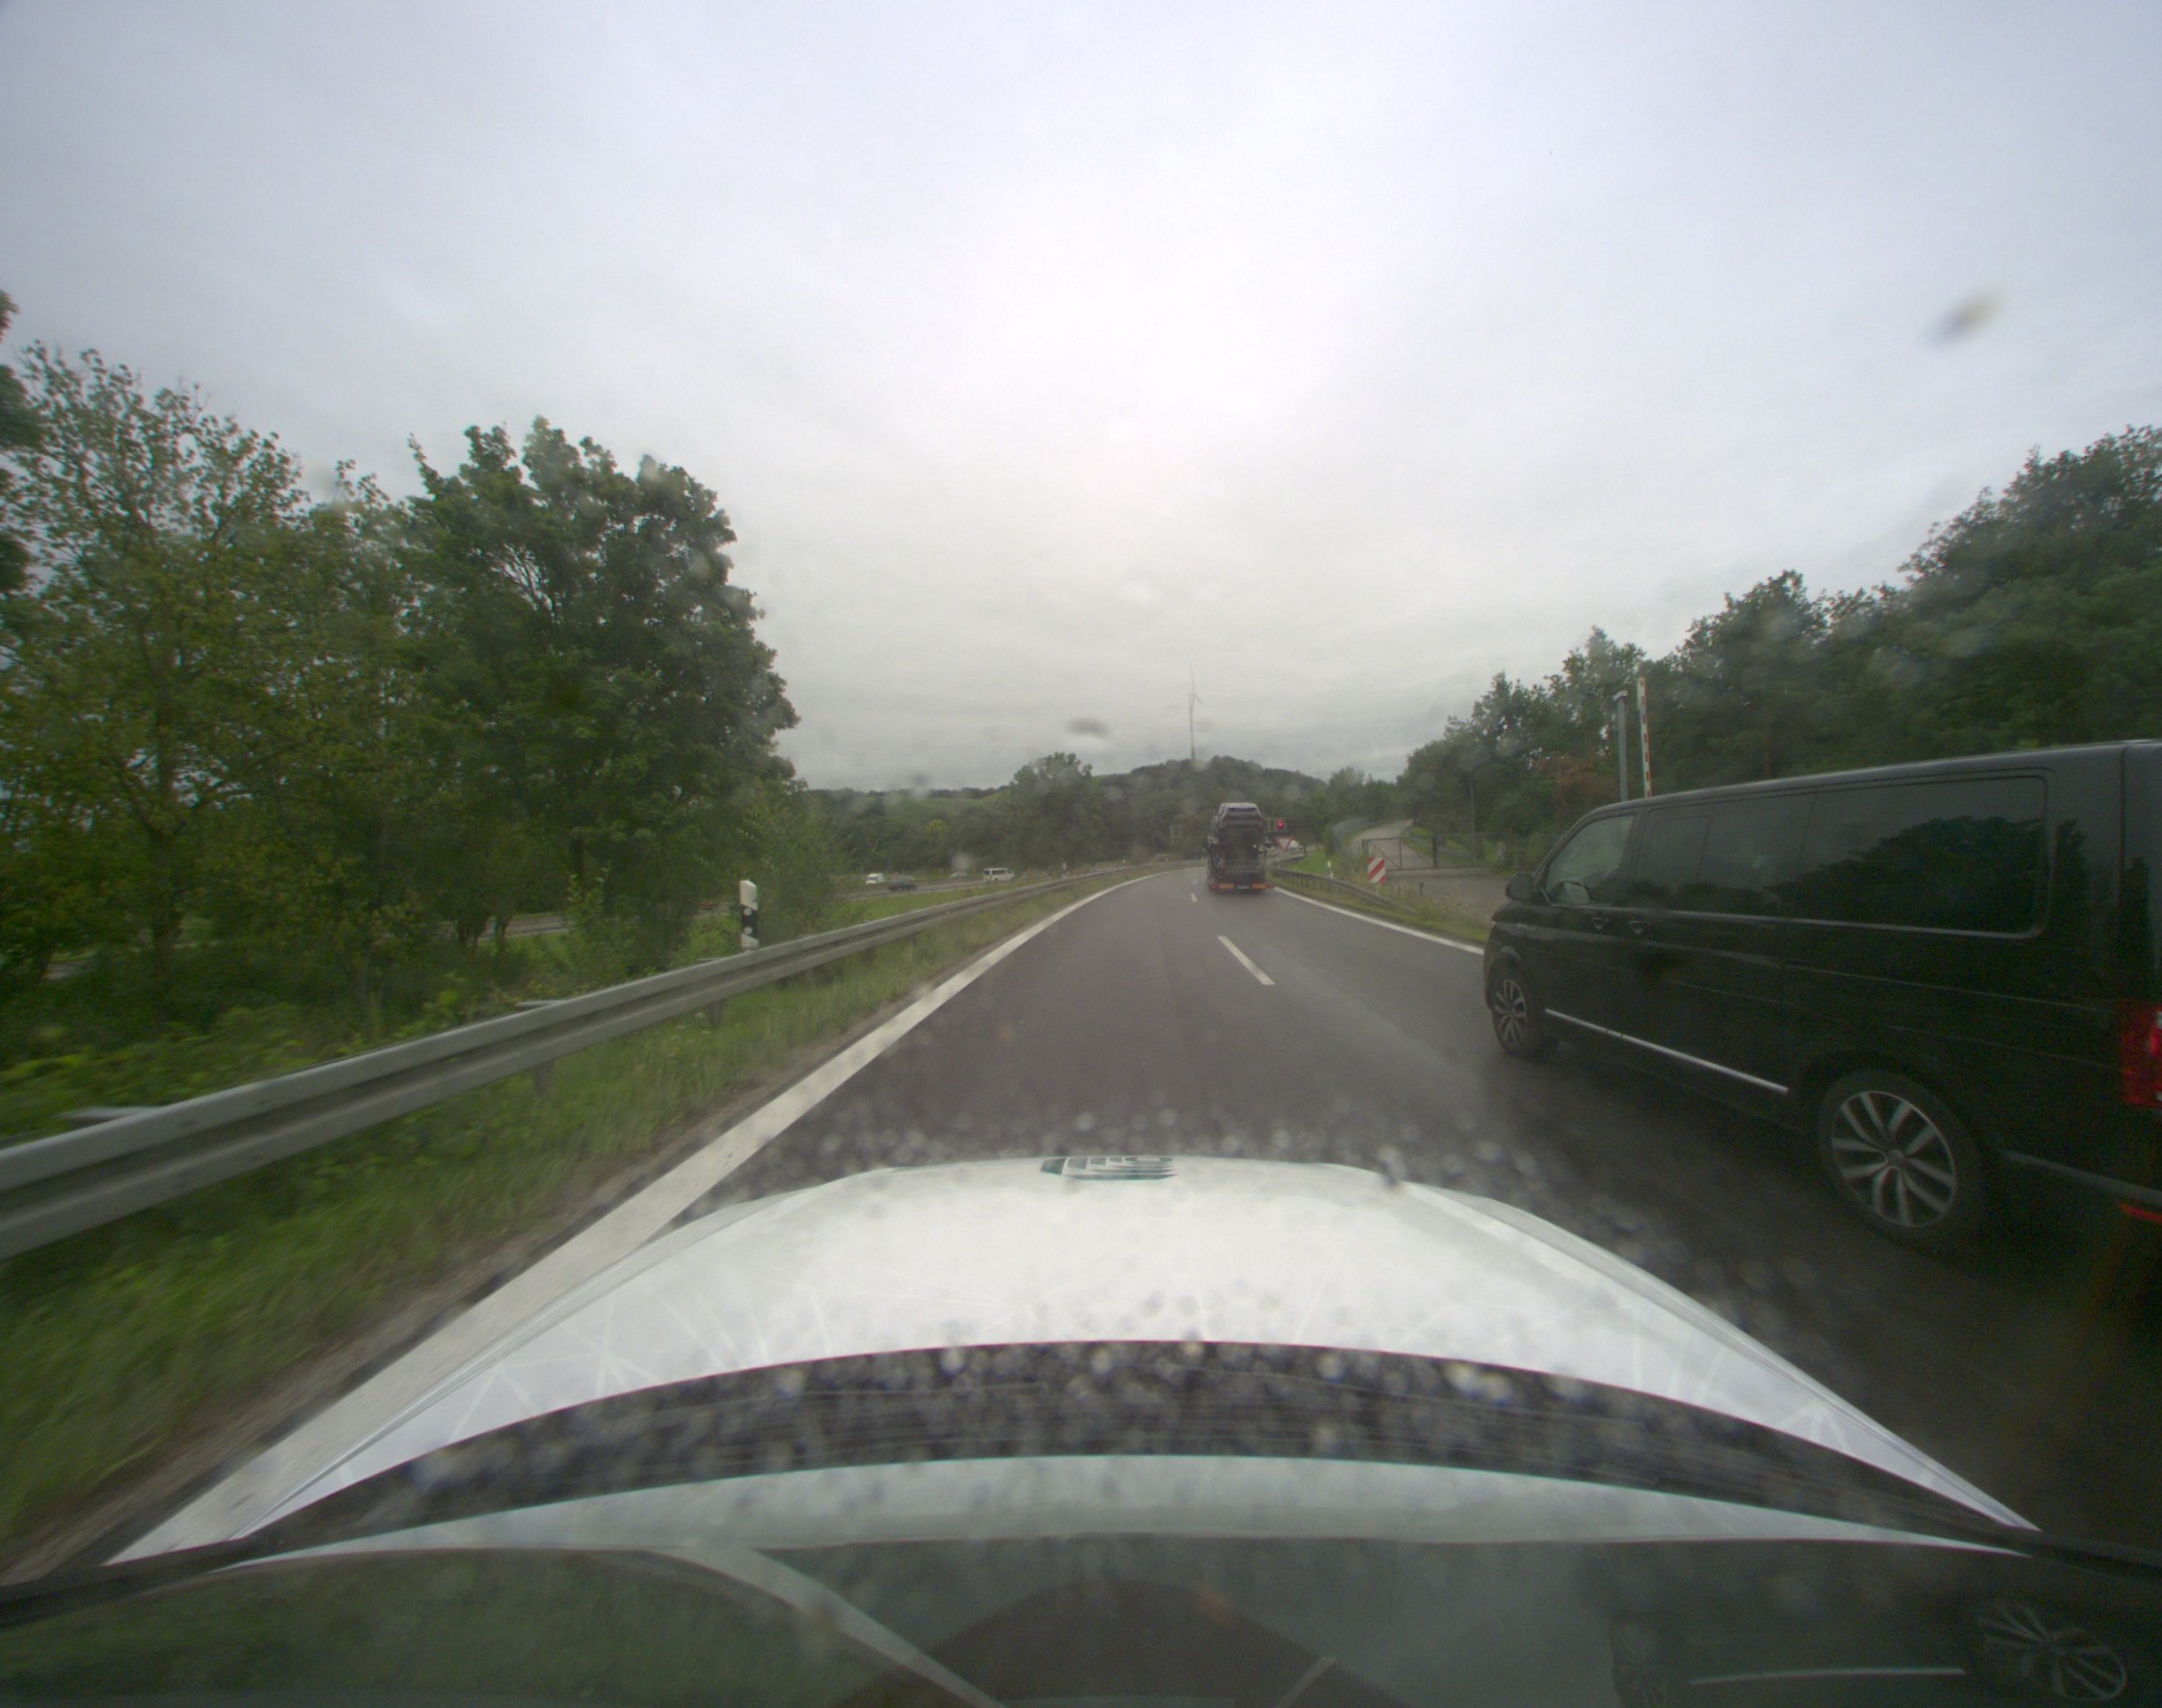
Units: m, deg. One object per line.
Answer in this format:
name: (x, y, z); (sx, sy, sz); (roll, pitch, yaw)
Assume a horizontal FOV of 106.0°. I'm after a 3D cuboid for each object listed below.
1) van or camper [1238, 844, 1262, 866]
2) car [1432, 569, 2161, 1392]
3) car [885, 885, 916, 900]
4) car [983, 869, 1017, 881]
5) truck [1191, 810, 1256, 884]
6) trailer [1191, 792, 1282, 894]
van or camper: (18.179, 0.096, 87.358); (2.076, 2.231, 4.450); (-1, 0, 17)
car: (4.127, 0.354, 4.464); (2.101, 2.264, 5.900); (0, 0, 2)
car: (-27.603, 5.893, 124.650); (1.975, 1.716, 4.025); (-8, -2, 44)
car: (-13.337, 3.486, 134.233); (5.355, 1.717, 1.975); (-1, -1, -45)
truck: (8.442, -0.335, 49.483); (3.376, 4.000, 10.868); (0, 0, 7)
trailer: (6.928, -0.396, 38.048); (3.430, 4.000, 12.051); (0, 0, 7)
